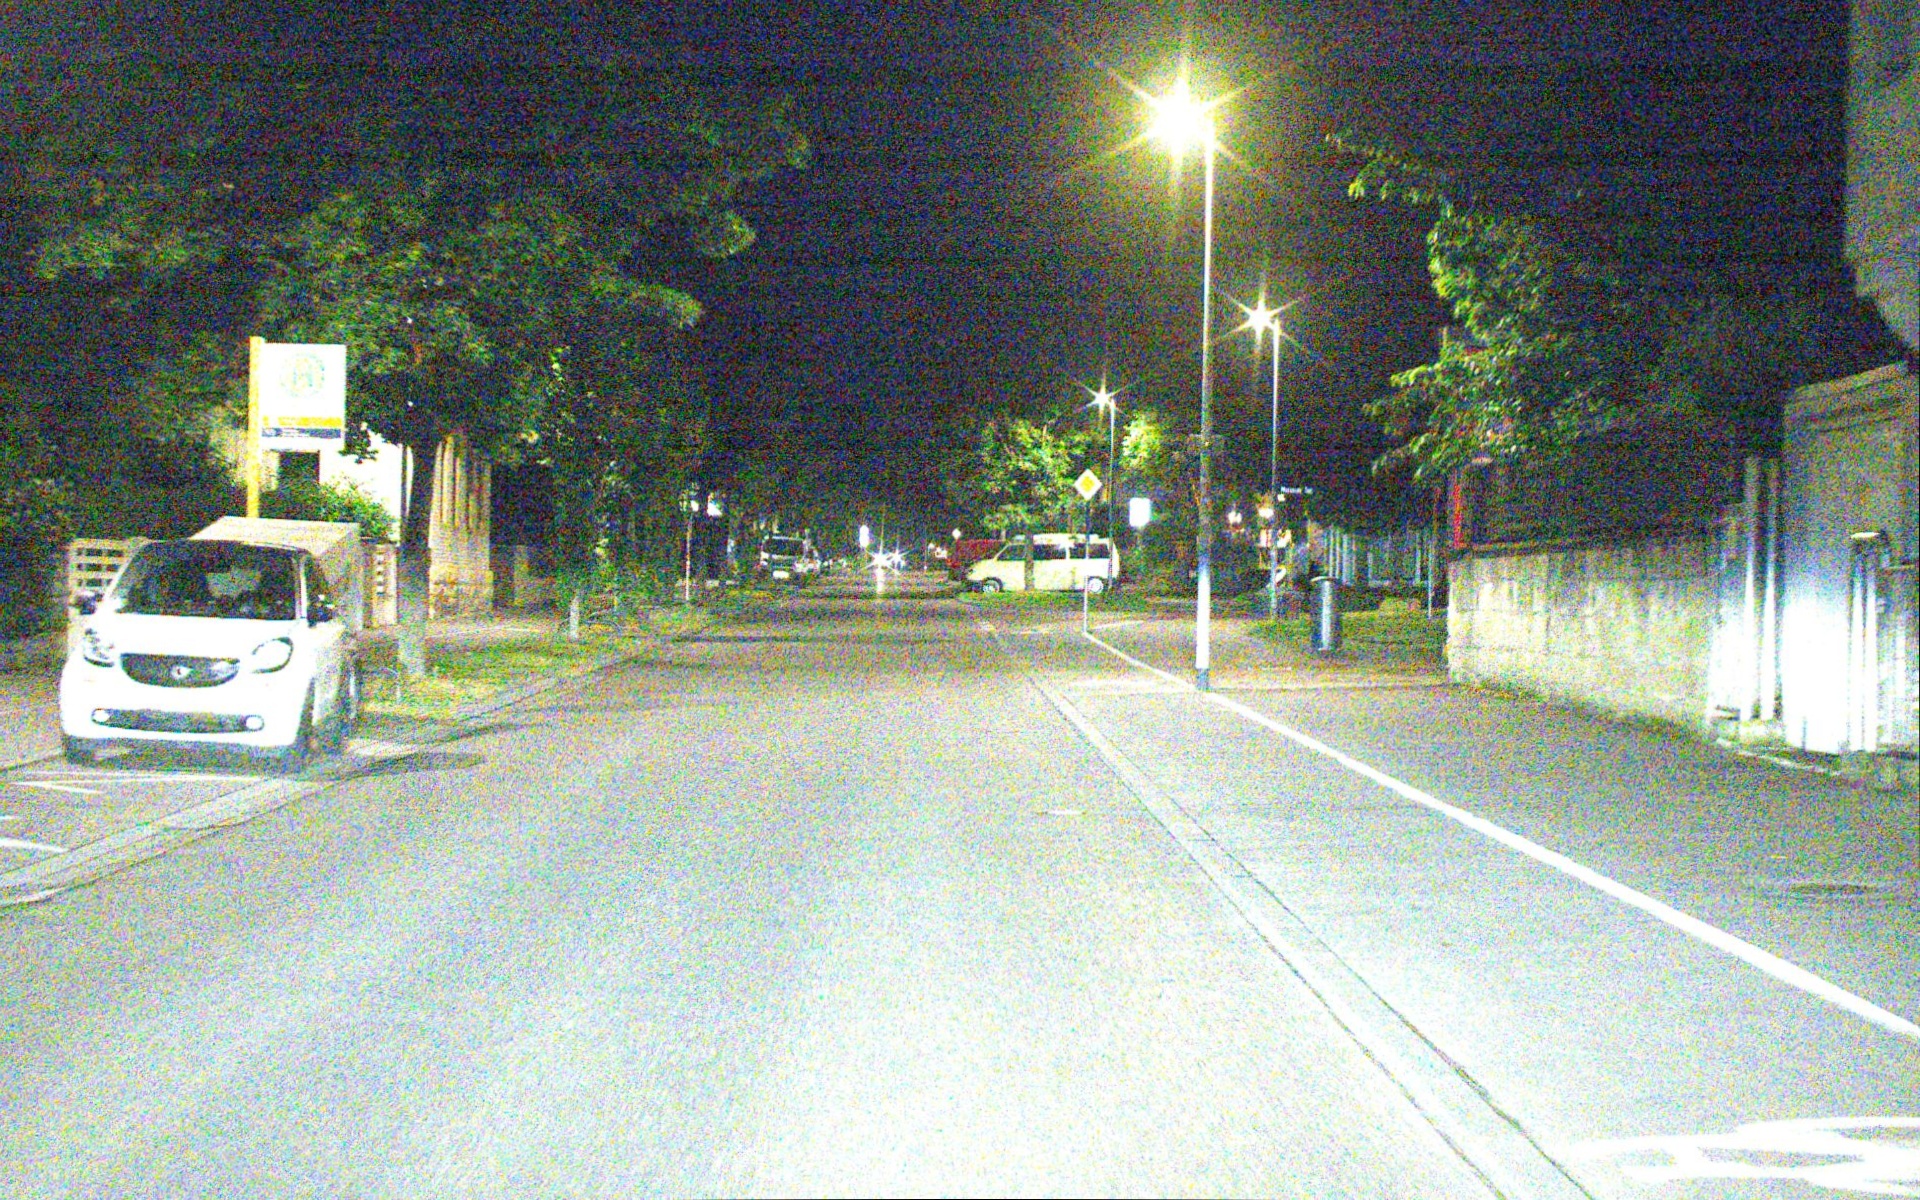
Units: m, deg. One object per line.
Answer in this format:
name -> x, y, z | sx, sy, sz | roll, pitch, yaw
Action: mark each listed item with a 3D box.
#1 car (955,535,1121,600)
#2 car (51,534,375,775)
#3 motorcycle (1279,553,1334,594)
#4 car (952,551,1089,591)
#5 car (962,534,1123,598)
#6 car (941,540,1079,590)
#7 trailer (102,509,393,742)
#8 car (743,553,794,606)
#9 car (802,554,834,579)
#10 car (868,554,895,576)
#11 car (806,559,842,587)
car -> 2.487, -1.056, 110.683 | 5.182, 2.007, 2.102 | -1, 1, -2
car -> -5.229, 0.343, 24.388 | 1.671, 1.517, 2.979 | 3, 1, -2
motorcycle -> 11.777, -0.905, 116.727 | 1.071, 1.322, 2.704 | 1, 2, 23
car -> 2.321, -1.143, 132.736 | 5.182, 1.464, 2.102 | -1, 1, -2
car -> 2.708, -1.132, 113.748 | 5.182, 2.007, 2.102 | -1, 1, -2
car -> 1.982, -1.390, 135.450 | 5.184, 1.880, 2.101 | -1, 1, 9
trailer -> -5.652, 0.173, 27.617 | 1.448, 1.682, 3.426 | 3, 1, 2
car -> -7.455, -0.814, 134.135 | 1.824, 1.980, 4.466 | 3, 1, -2
car -> -7.573, -1.789, 183.094 | 1.683, 1.326, 3.600 | 1, 1, -2
car -> -5.767, -2.587, 252.981 | 1.927, 1.643, 3.822 | 0, 1, -2
car -> -6.570, -1.313, 166.333 | 1.683, 1.326, 3.600 | 1, 1, -2
